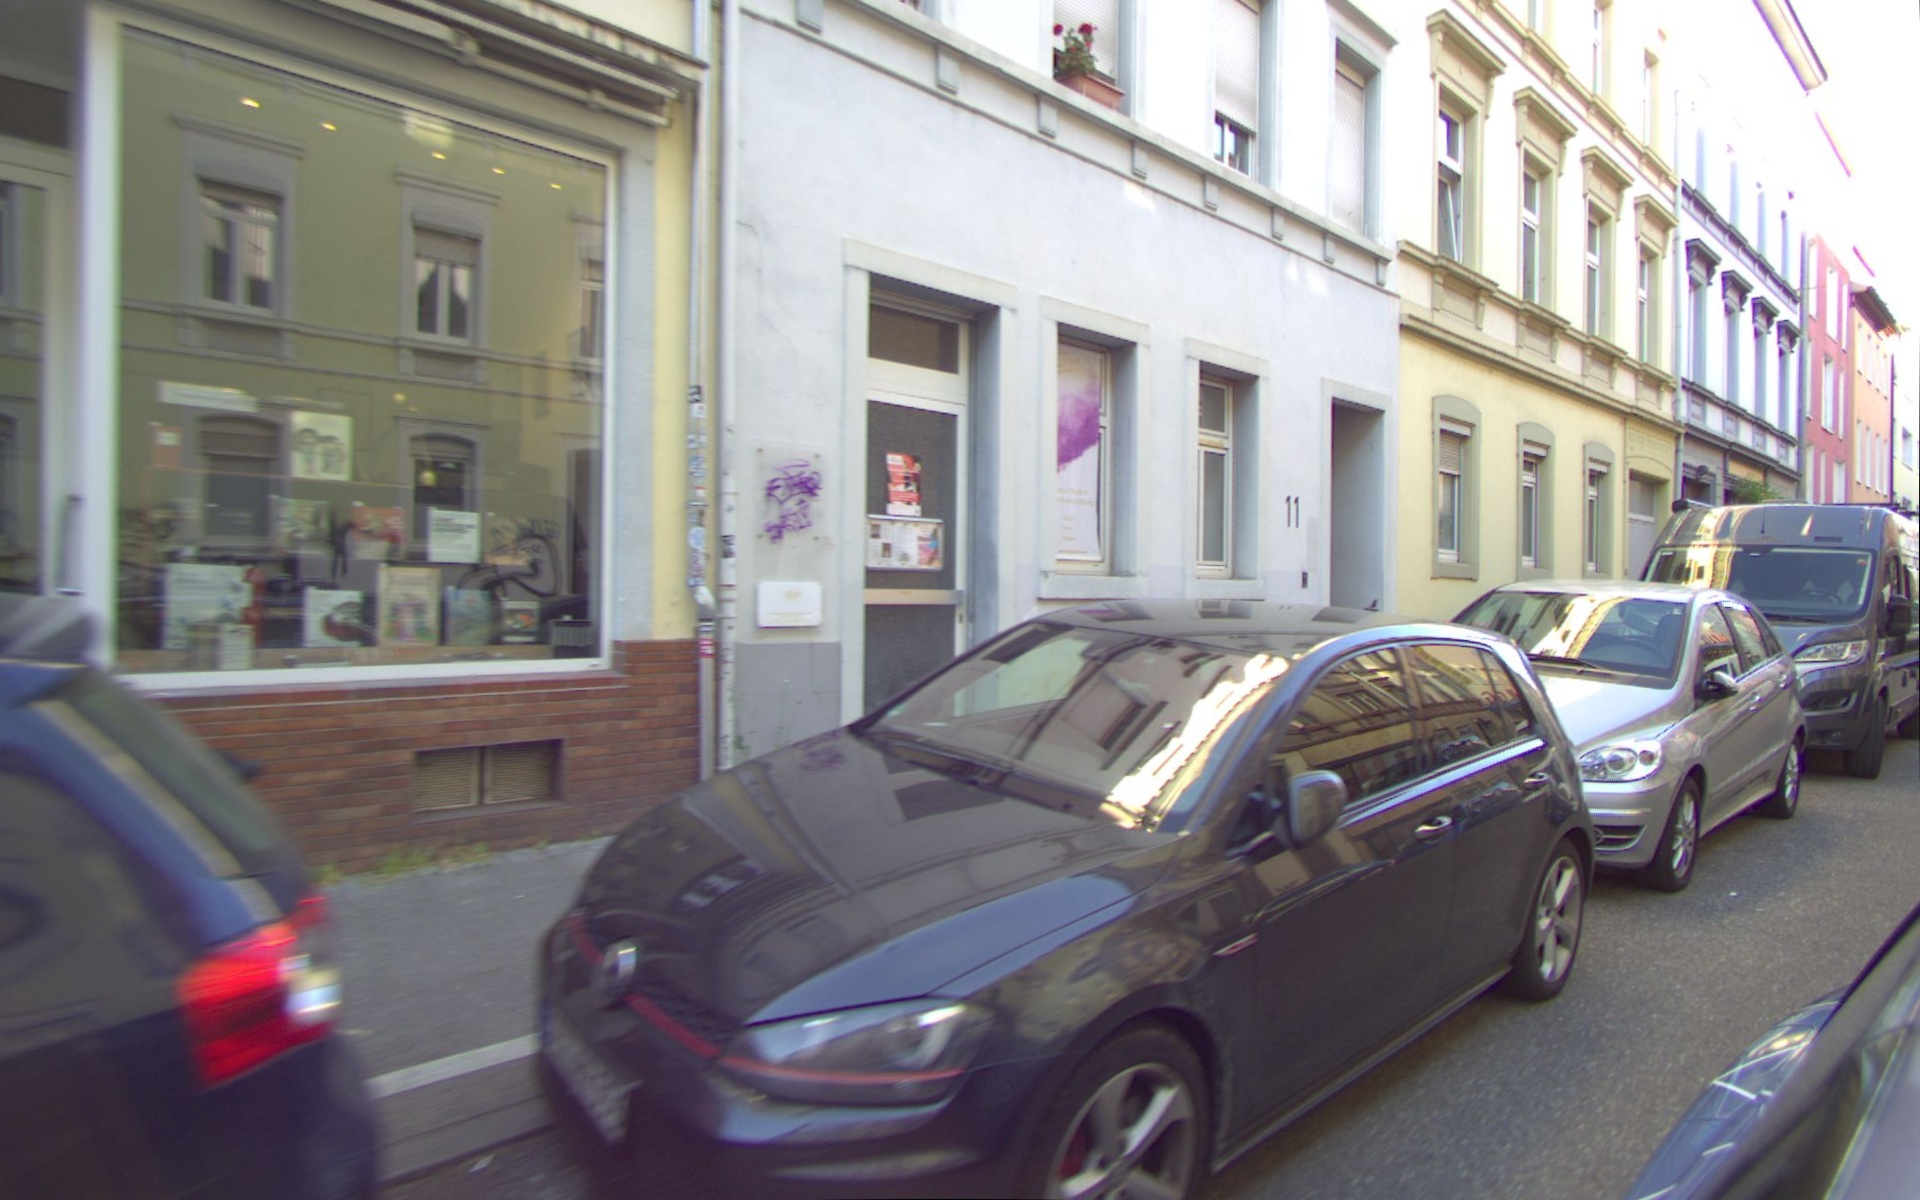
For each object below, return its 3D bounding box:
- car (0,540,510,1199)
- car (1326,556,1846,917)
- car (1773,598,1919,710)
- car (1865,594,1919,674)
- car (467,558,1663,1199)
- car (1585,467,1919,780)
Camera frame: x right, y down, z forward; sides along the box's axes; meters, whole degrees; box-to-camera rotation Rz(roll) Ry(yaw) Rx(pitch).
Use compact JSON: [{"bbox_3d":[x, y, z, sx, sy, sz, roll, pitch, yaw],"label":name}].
[{"bbox_3d":[-2.873,0.665,0.444,1.809,1.496,4.542,5,3,39],"label":"car"},{"bbox_3d":[4.337,0.599,6.699,4.298,1.627,1.697,0,3,-41],"label":"car"},{"bbox_3d":[13.874,0.718,15.317,4.099,1.462,1.750,0,0,-41],"label":"car"},{"bbox_3d":[19.967,0.672,20.565,4.468,1.472,1.790,0,4,-42],"label":"car"},{"bbox_3d":[0.780,0.668,3.506,4.169,1.504,1.749,0,1,-41],"label":"car"},{"bbox_3d":[8.997,0.140,10.819,6.199,2.455,2.179,0,2,-41],"label":"car"}]
